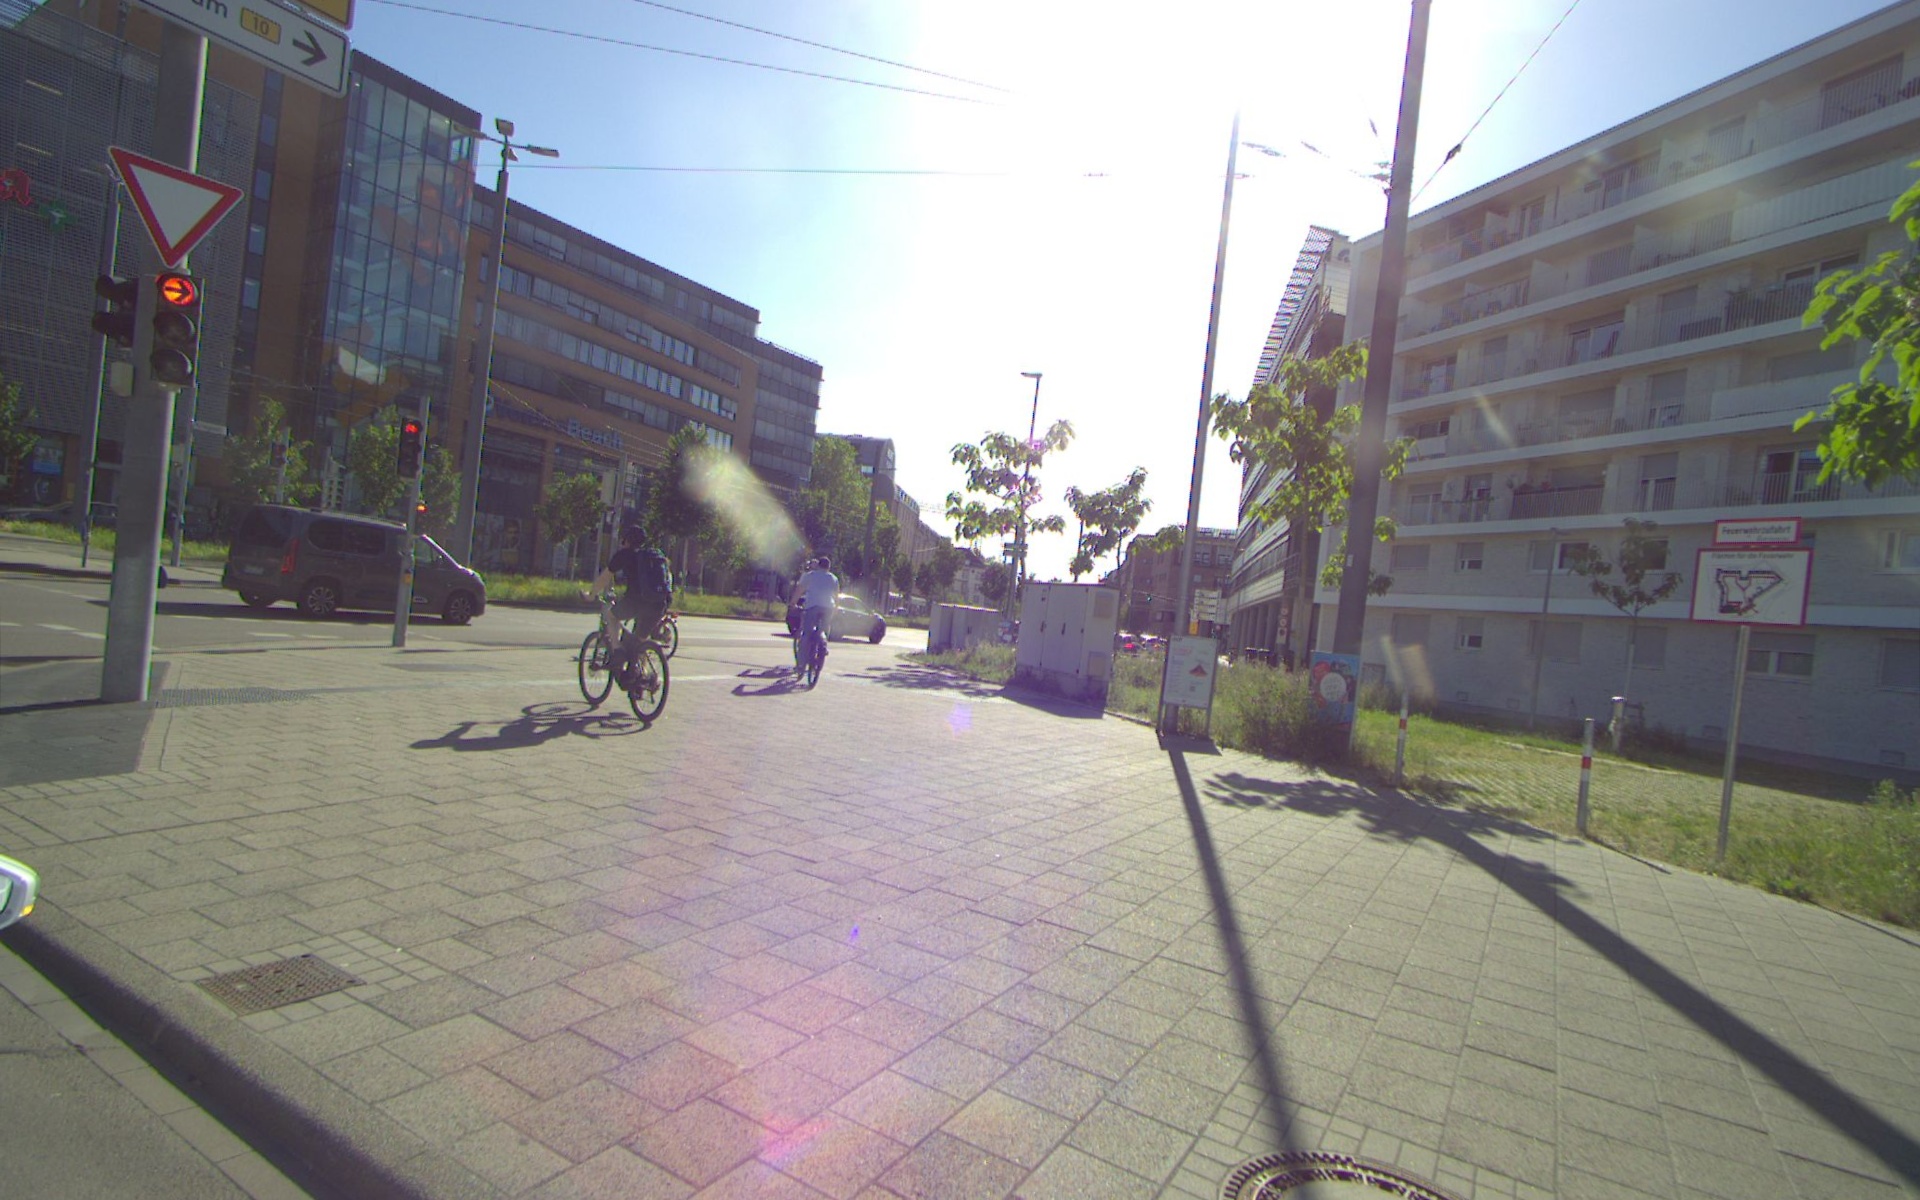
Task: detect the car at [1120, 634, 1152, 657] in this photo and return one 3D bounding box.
[{"bbox_3d":[13.910,3.625,79.489,1.677,1.515,4.281,7,-2,19],"label":"car"}]

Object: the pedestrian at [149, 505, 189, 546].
[{"bbox_3d":[-39.321,-3.713,50.001,1.015,1.852,1.015,7,2,9],"label":"pedestrian"}]

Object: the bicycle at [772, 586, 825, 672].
[{"bbox_3d":[-2.788,0.471,17.249,0.704,1.344,1.745,6,0,-12],"label":"bicycle"}]

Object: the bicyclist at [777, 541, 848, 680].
[{"bbox_3d":[-2.125,0.154,14.596,0.796,1.888,0.749,6,0,-5],"label":"bicyclist"}]

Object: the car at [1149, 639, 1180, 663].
[{"bbox_3d":[15.823,3.972,77.710,1.677,1.515,4.281,7,-2,19],"label":"car"}]

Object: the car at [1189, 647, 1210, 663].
[{"bbox_3d":[26.121,5.993,109.599,1.677,1.515,4.281,7,-2,19],"label":"car"}]

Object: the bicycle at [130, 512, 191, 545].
[{"bbox_3d":[-40.520,-3.610,51.041,0.595,1.310,2.260,7,-2,30],"label":"bicycle"}]

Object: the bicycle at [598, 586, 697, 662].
[{"bbox_3d":[-5.221,0.390,16.752,1.796,1.085,0.666,5,-1,42],"label":"bicycle"}]

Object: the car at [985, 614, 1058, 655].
[{"bbox_3d":[2.938,1.639,47.080,1.800,1.479,4.684,7,-1,23],"label":"car"}]

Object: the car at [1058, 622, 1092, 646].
[{"bbox_3d":[9.548,2.813,83.009,1.901,1.728,4.686,7,0,16],"label":"car"}]

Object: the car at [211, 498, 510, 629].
[{"bbox_3d":[-10.803,-0.568,18.558,1.678,1.813,4.472,7,-1,24],"label":"car"}]

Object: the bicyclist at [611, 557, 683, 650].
[{"bbox_3d":[-5.211,0.052,16.742,0.928,1.453,0.665,5,-1,44],"label":"bicyclist"}]

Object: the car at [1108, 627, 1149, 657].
[{"bbox_3d":[10.430,2.618,62.060,1.675,1.591,4.874,7,-1,18],"label":"car"}]

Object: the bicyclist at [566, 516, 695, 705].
[{"bbox_3d":[-3.092,0.088,9.415,0.627,1.649,0.959,6,0,-44],"label":"bicyclist"}]

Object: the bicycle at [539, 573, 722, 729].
[{"bbox_3d":[-3.163,0.445,9.507,2.126,1.212,0.634,6,0,44],"label":"bicycle"}]

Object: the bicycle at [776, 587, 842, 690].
[{"bbox_3d":[-2.157,0.532,14.551,0.745,1.316,2.152,6,-1,-7],"label":"bicycle"}]

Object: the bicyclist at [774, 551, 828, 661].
[{"bbox_3d":[-2.716,0.088,17.104,0.704,1.748,1.091,6,2,-12],"label":"bicyclist"}]

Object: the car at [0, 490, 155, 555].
[{"bbox_3d":[-32.070,-2.769,36.335,1.810,1.484,4.161,6,-5,30],"label":"car"}]

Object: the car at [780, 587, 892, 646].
[{"bbox_3d":[-4.104,0.613,34.023,1.678,1.531,4.278,7,-2,24],"label":"car"}]

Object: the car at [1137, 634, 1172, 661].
[{"bbox_3d":[13.732,3.372,70.969,1.677,1.515,4.281,7,-2,19],"label":"car"}]
